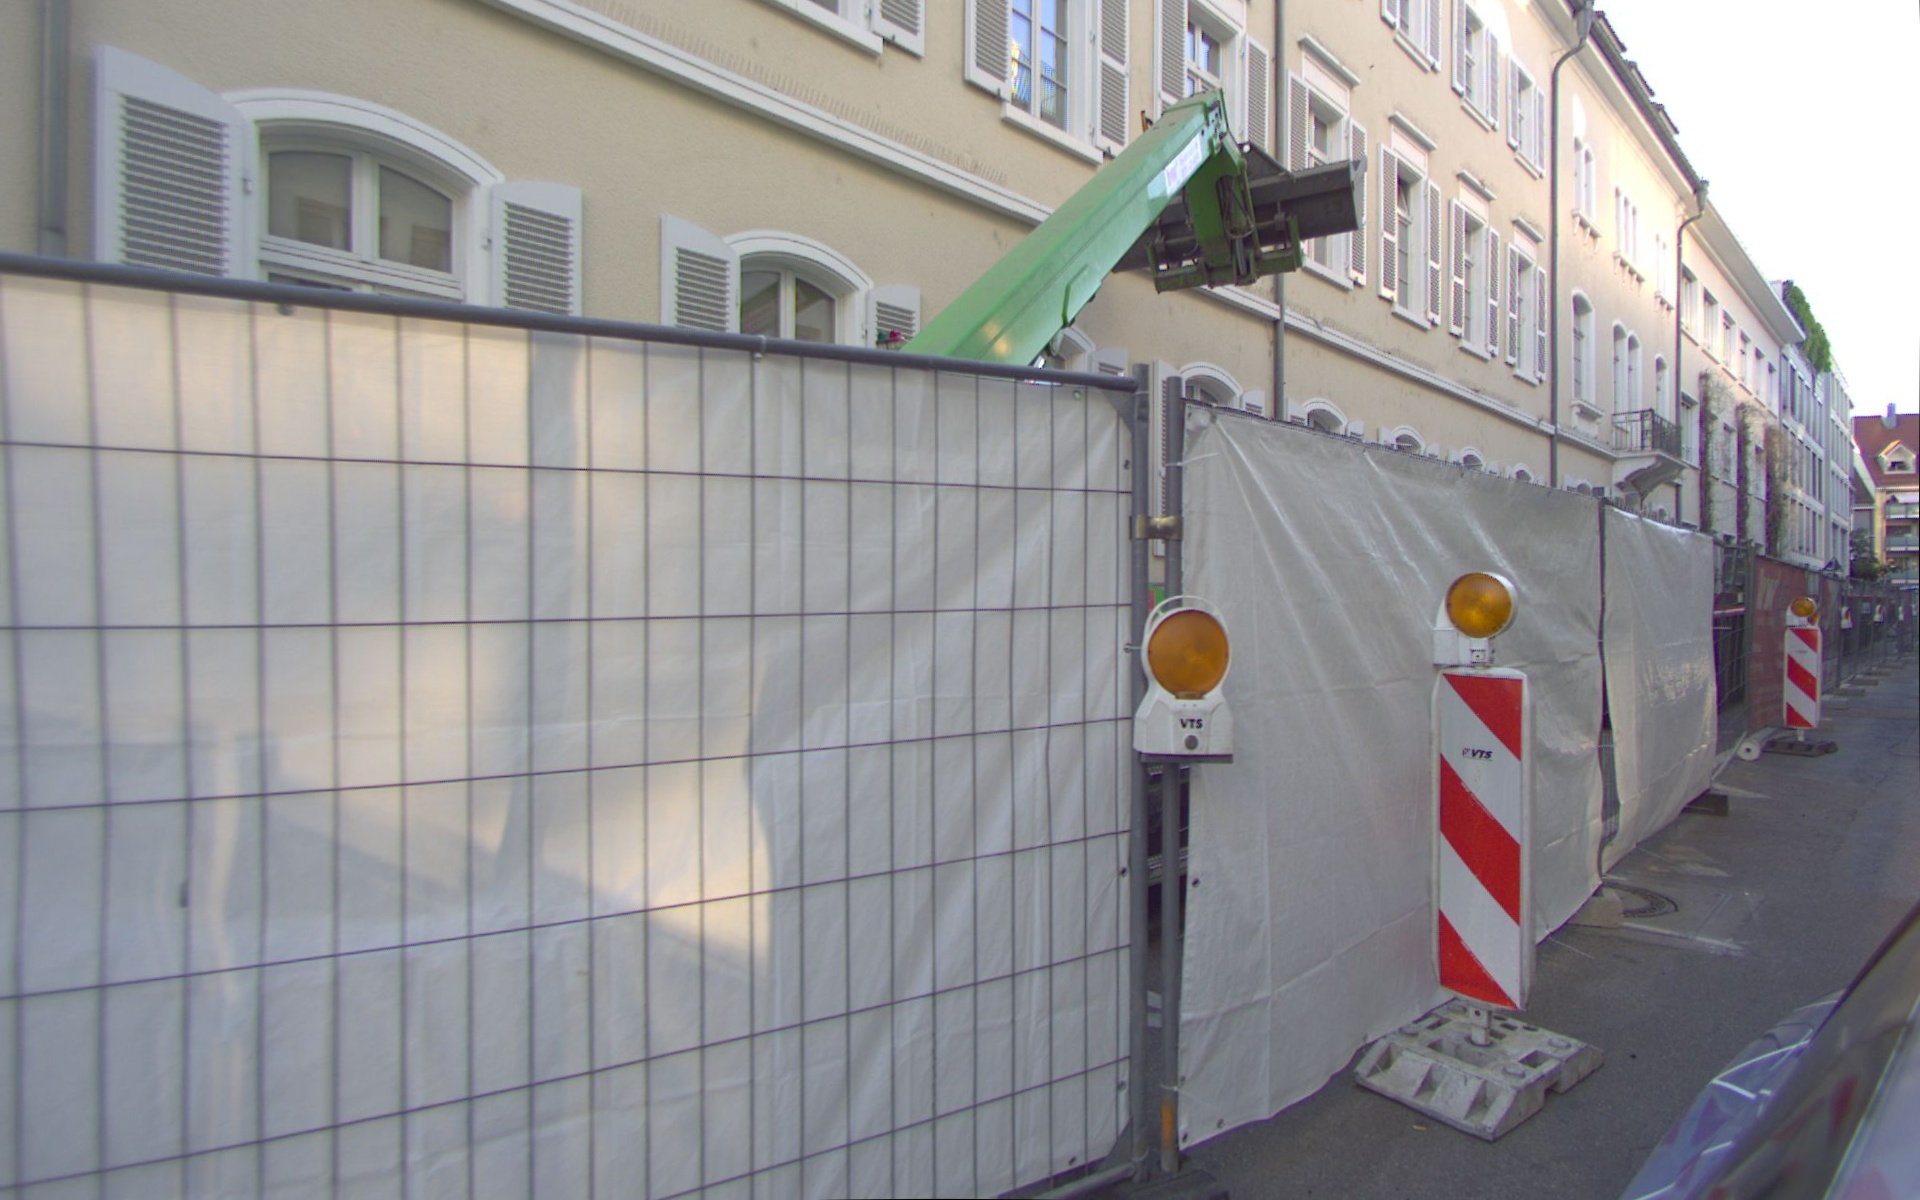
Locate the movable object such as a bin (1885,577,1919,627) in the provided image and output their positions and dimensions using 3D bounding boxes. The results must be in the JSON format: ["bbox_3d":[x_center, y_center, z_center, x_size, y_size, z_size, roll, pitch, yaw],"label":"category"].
[{"bbox_3d":[53.157,0.127,56.311,5.655,2.657,2.017,1,-3,-44],"label":"movable object such as a bin"}]

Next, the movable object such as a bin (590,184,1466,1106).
[{"bbox_3d":[0.627,0.114,5.632,4.376,2.874,2.607,0,1,-44],"label":"movable object such as a bin"}]

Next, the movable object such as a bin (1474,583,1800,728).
[{"bbox_3d":[10.439,0.636,15.197,2.736,1.659,7.431,-1,0,45],"label":"movable object such as a bin"}]
